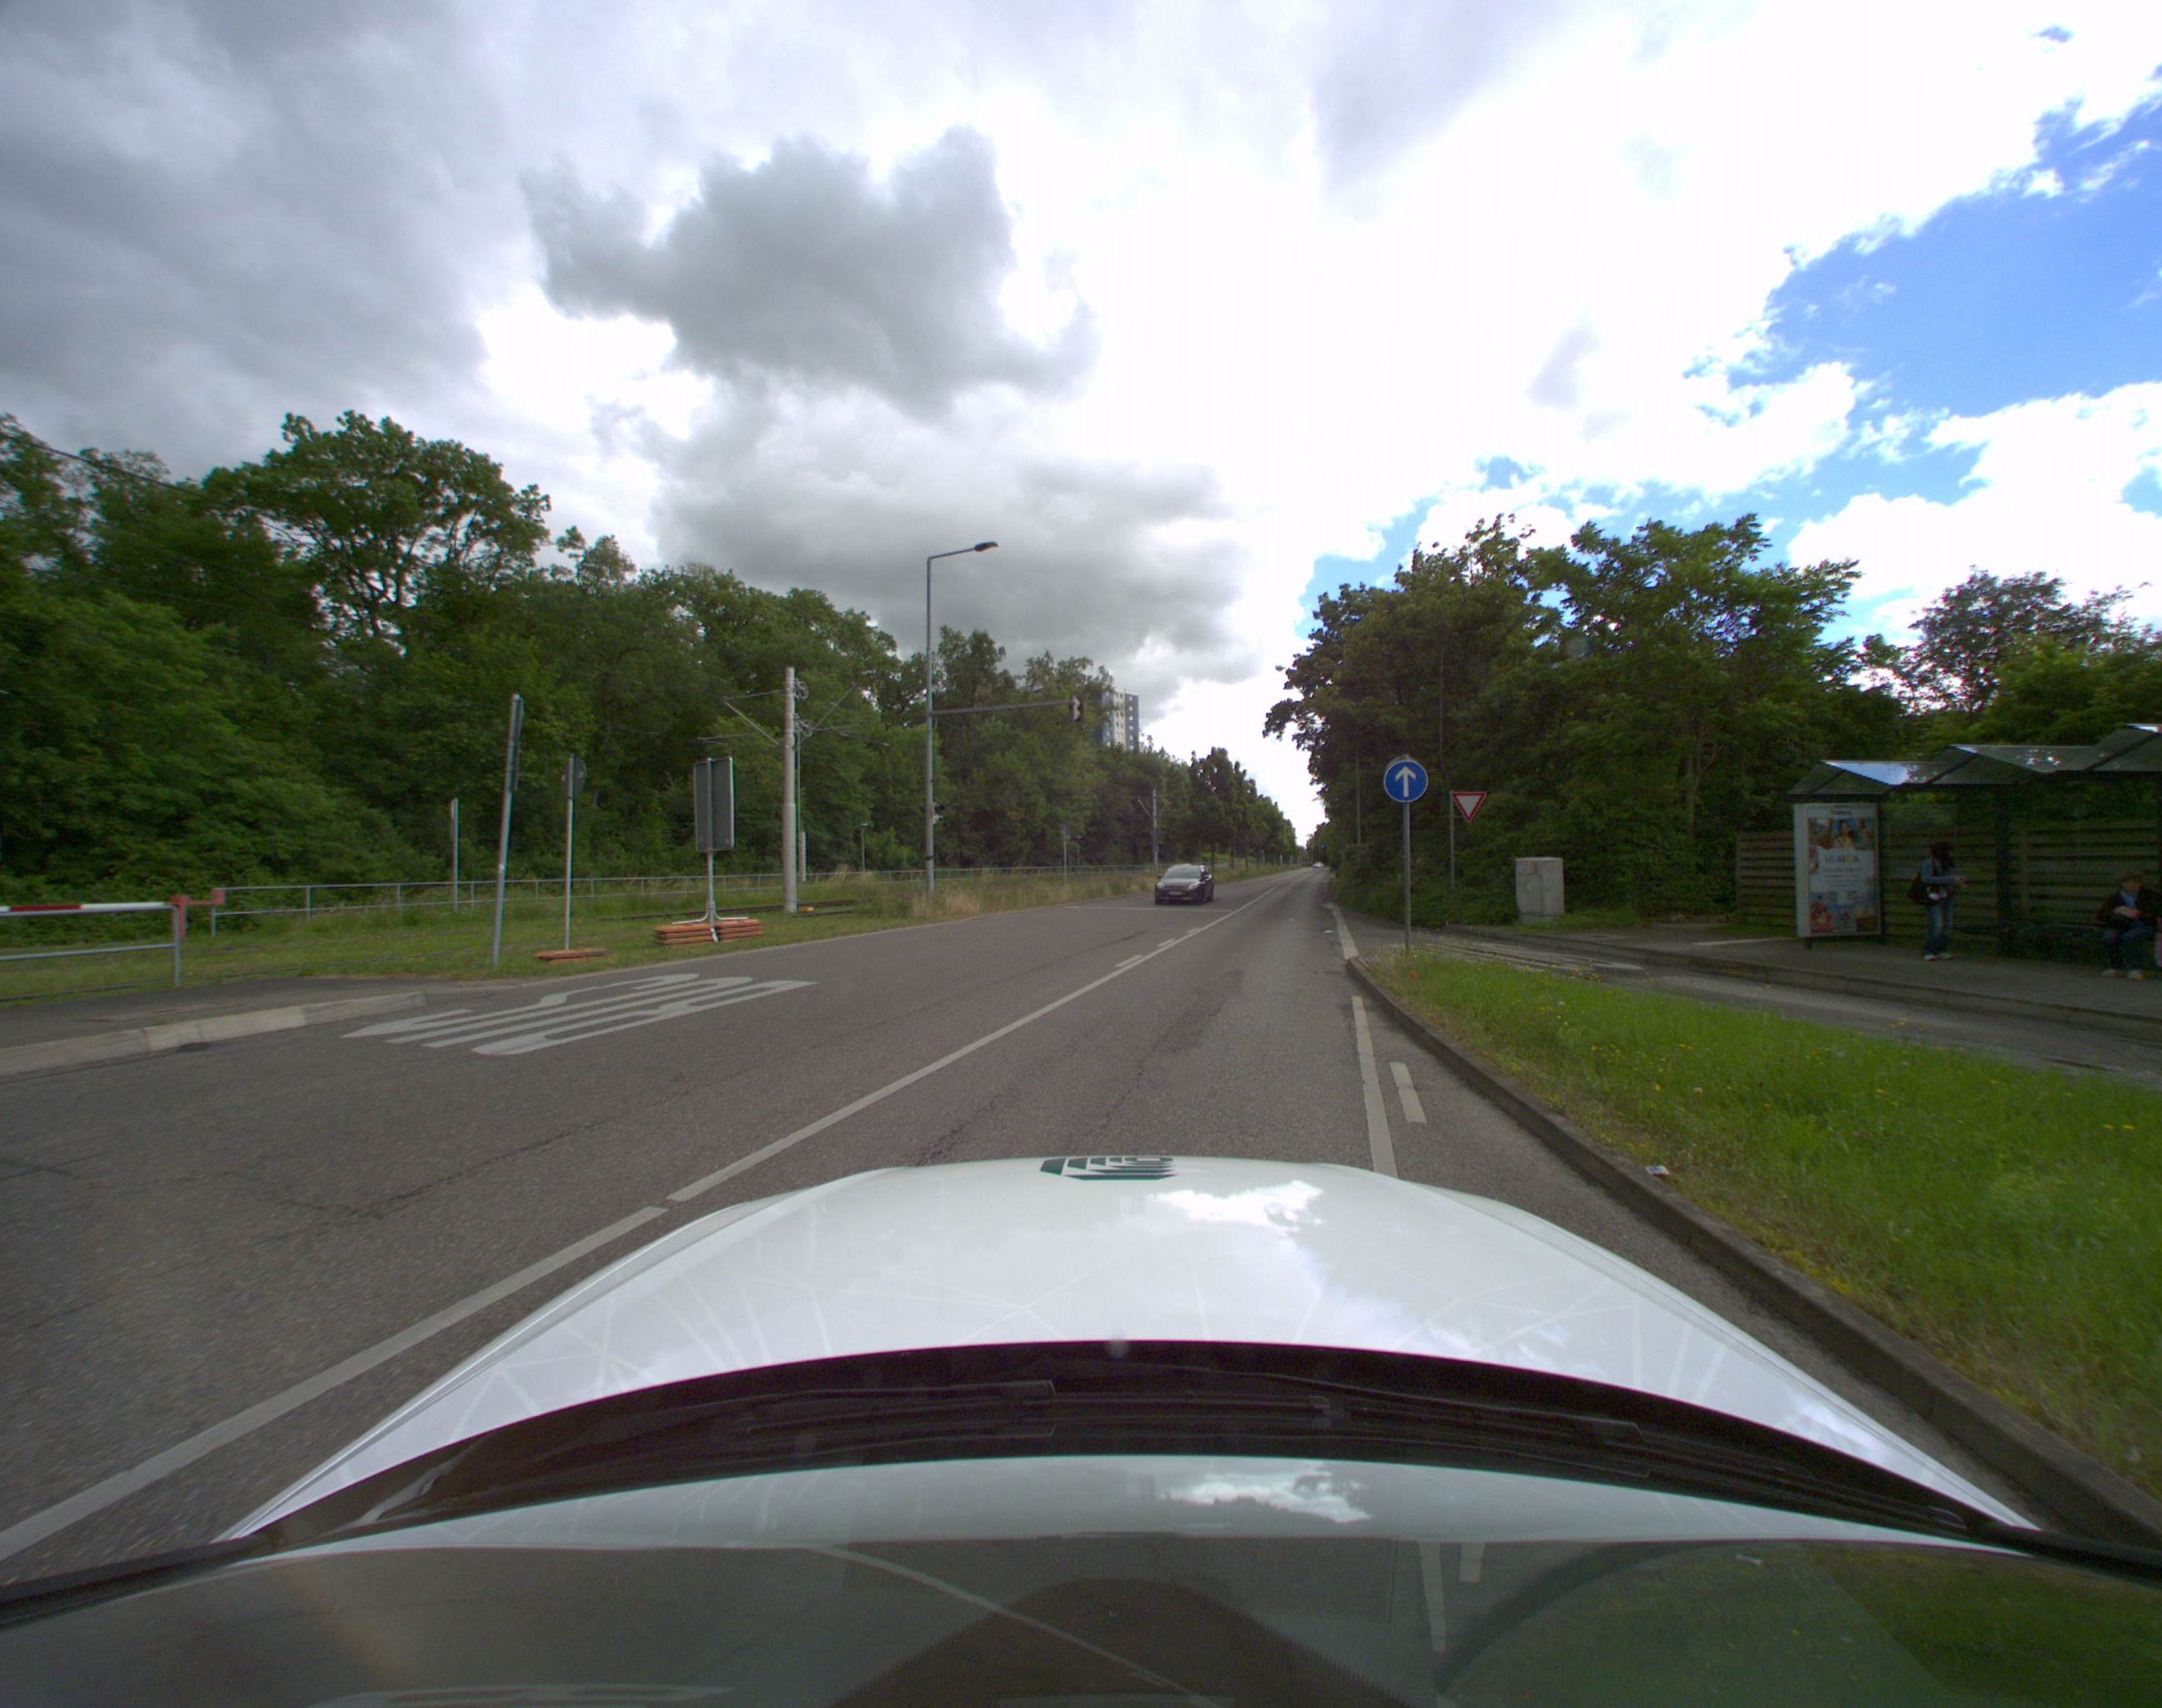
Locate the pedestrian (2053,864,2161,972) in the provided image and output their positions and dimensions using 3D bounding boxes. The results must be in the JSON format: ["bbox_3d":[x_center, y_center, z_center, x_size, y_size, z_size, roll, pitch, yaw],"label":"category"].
[{"bbox_3d":[12.027,0.712,9.394,0.748,1.170,0.768,-1,-1,-12],"label":"pedestrian"}]

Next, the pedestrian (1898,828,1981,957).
[{"bbox_3d":[11.554,0.499,10.985,0.678,1.650,0.776,-2,-1,42],"label":"pedestrian"}]

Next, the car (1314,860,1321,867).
[{"bbox_3d":[61.471,2.395,211.551,1.703,1.629,4.018,1,0,17],"label":"car"}]

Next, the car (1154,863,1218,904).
[{"bbox_3d":[4.102,1.101,31.272,1.742,1.434,4.447,-1,-1,16],"label":"car"}]
